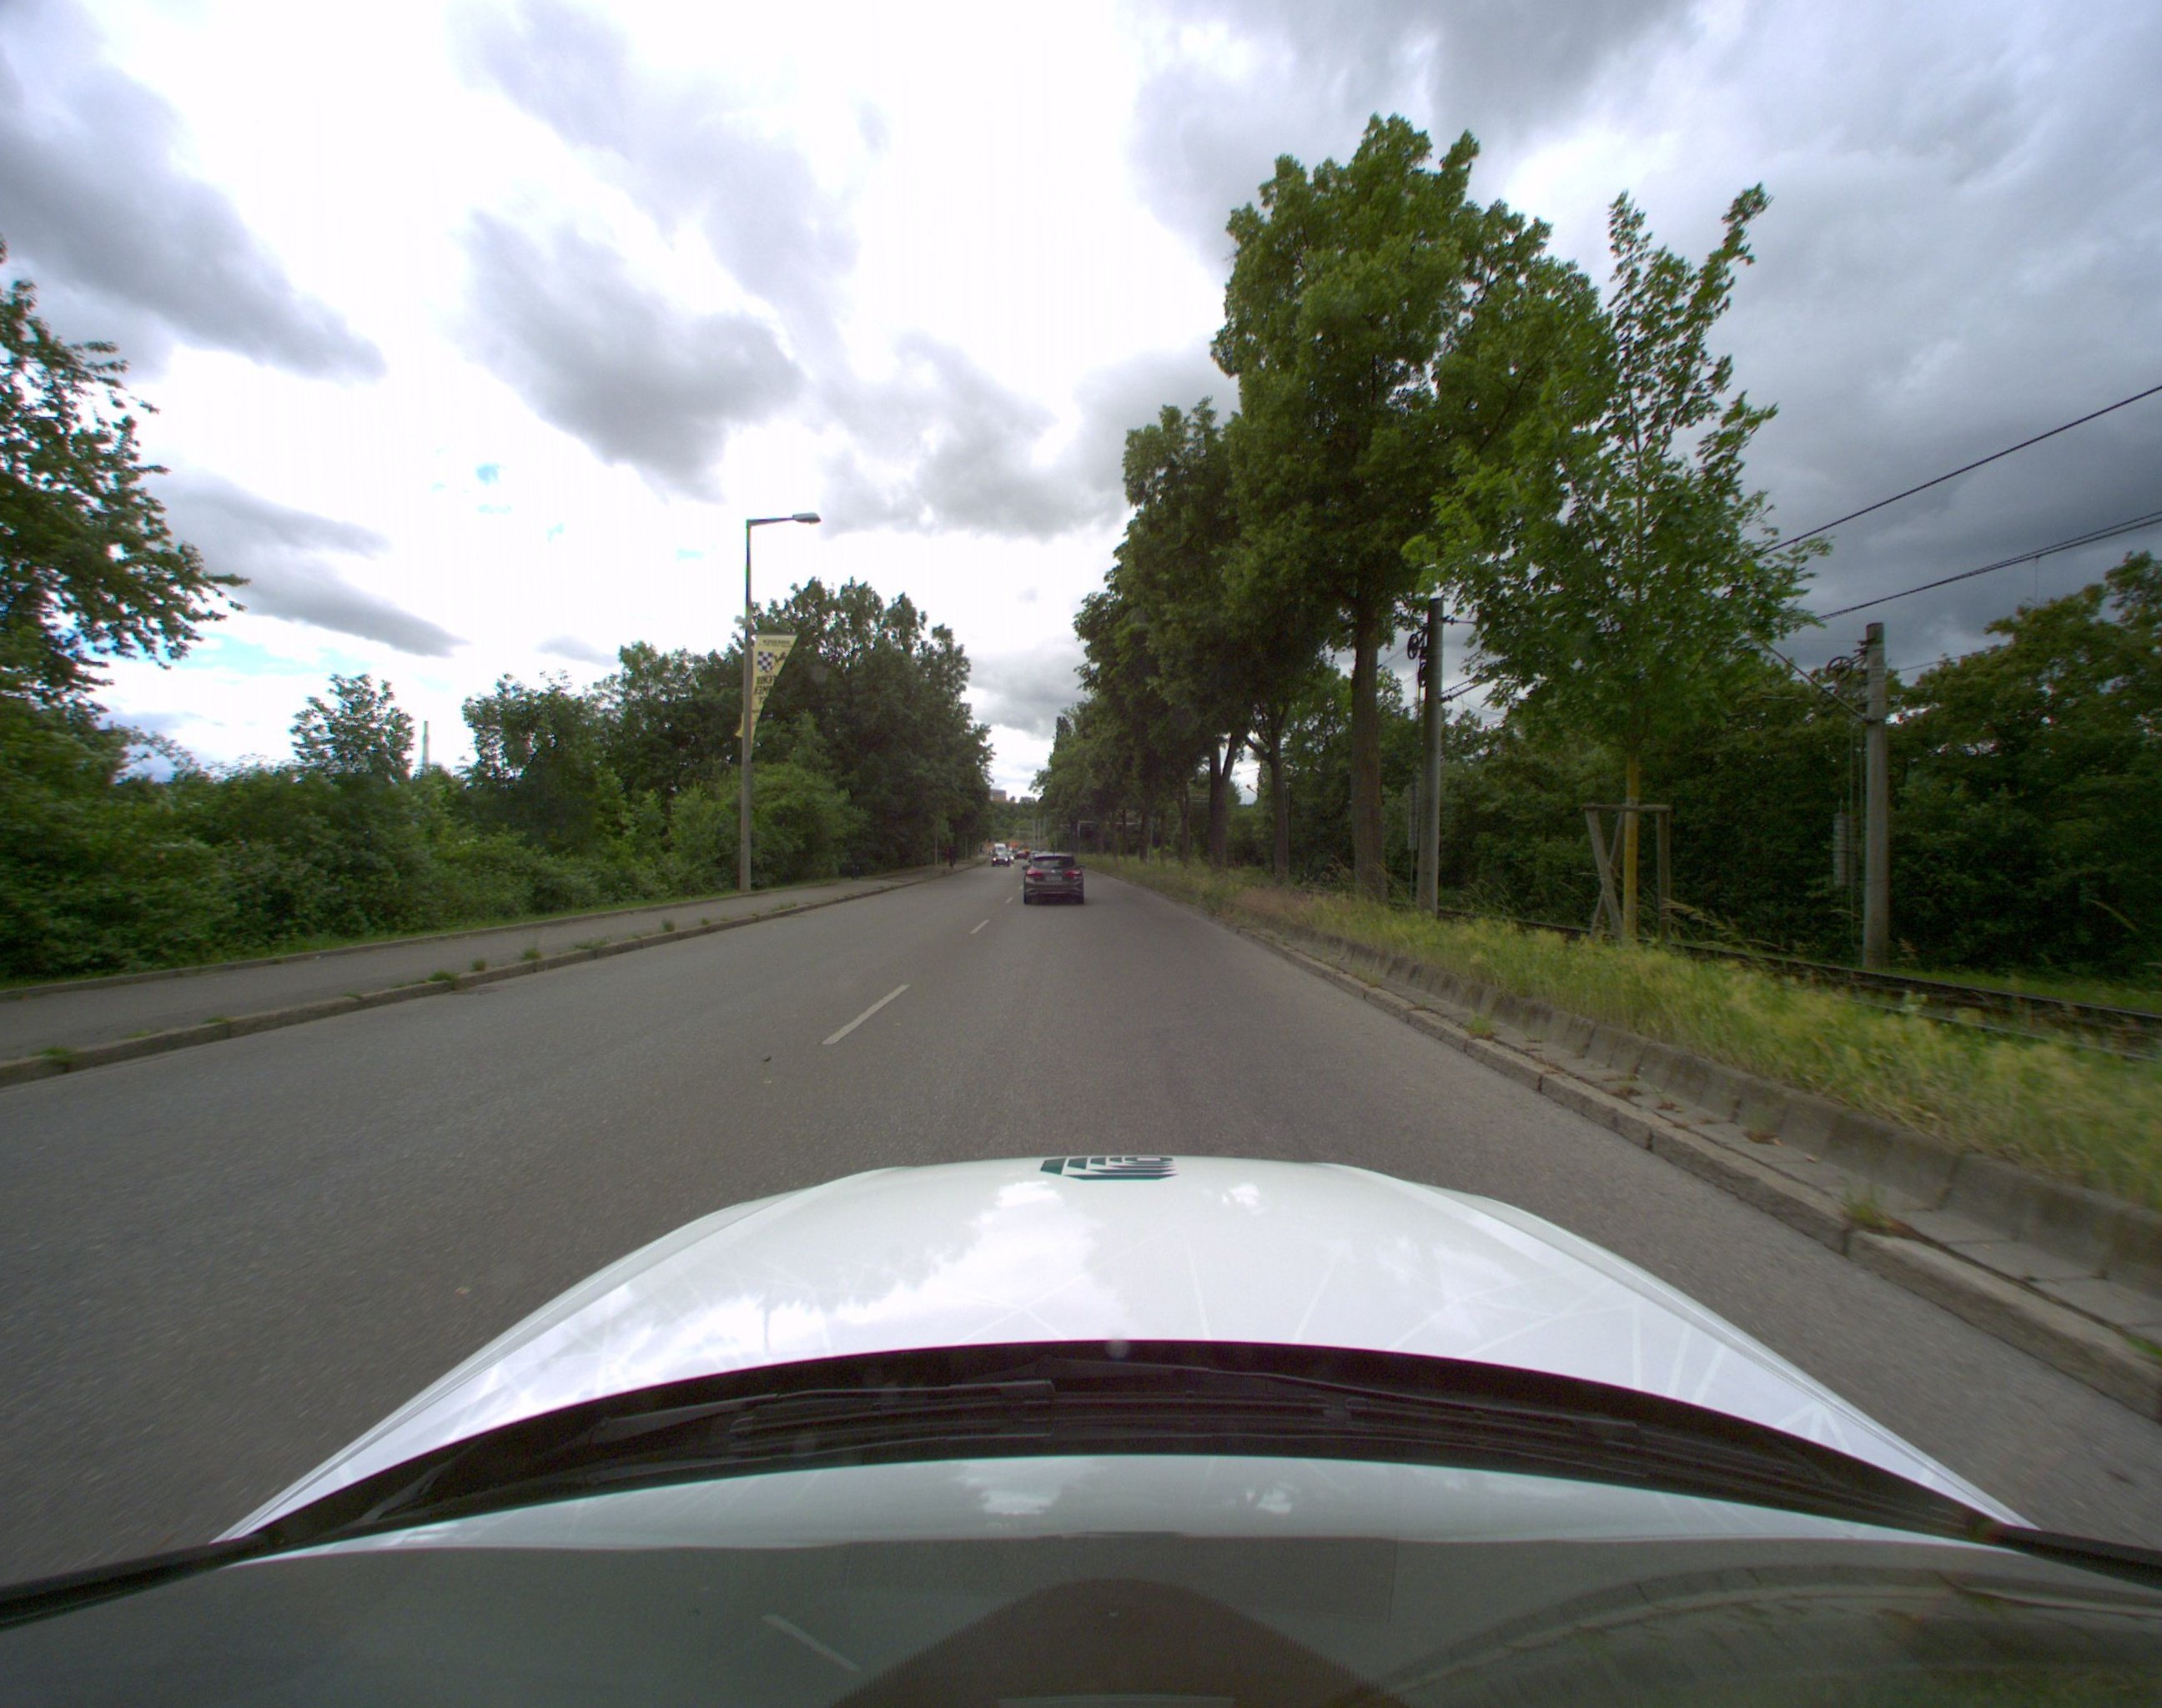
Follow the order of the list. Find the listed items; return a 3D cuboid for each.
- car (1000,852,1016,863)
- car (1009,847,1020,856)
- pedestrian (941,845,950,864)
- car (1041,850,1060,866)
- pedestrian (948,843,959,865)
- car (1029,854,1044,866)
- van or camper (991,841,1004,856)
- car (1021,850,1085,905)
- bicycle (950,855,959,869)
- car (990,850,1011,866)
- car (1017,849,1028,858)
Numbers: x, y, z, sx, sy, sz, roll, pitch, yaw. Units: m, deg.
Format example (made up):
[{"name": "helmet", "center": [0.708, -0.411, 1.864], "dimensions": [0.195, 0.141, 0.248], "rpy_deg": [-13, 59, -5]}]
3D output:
[{"name": "car", "center": [-8.926, 0.422, 100.273], "dimensions": [1.720, 1.330, 3.473], "rpy_deg": [2, 1, -2]}, {"name": "car", "center": [-12.440, -0.501, 152.221], "dimensions": [1.771, 1.472, 3.997], "rpy_deg": [2, 1, -3]}, {"name": "pedestrian", "center": [-12.134, 0.068, 72.985], "dimensions": [0.693, 1.621, 0.684], "rpy_deg": [3, 1, -1]}, {"name": "car", "center": [-3.179, 0.417, 84.645], "dimensions": [1.771, 1.472, 3.999], "rpy_deg": [3, 1, -1]}, {"name": "pedestrian", "center": [-9.595, -0.018, 61.307], "dimensions": [0.615, 1.571, 0.849], "rpy_deg": [3, 1, 0]}, {"name": "car", "center": [-6.049, 0.761, 110.144], "dimensions": [1.774, 1.472, 3.990], "rpy_deg": [3, 1, -7]}, {"name": "van or camper", "center": [-12.648, -0.855, 123.518], "dimensions": [1.923, 2.151, 3.925], "rpy_deg": [3, 1, -6]}, {"name": "car", "center": [-0.827, 0.646, 25.166], "dimensions": [1.811, 1.508, 3.999], "rpy_deg": [0, 1, -1]}, {"name": "bicycle", "center": [-9.506, 0.611, 61.316], "dimensions": [0.486, 1.030, 1.124], "rpy_deg": [3, 1, 0]}, {"name": "car", "center": [-8.061, 0.388, 81.575], "dimensions": [1.745, 1.464, 3.917], "rpy_deg": [2, 0, -2]}, {"name": "car", "center": [-9.883, -0.120, 138.035], "dimensions": [1.772, 1.472, 3.997], "rpy_deg": [3, 1, -3]}]
